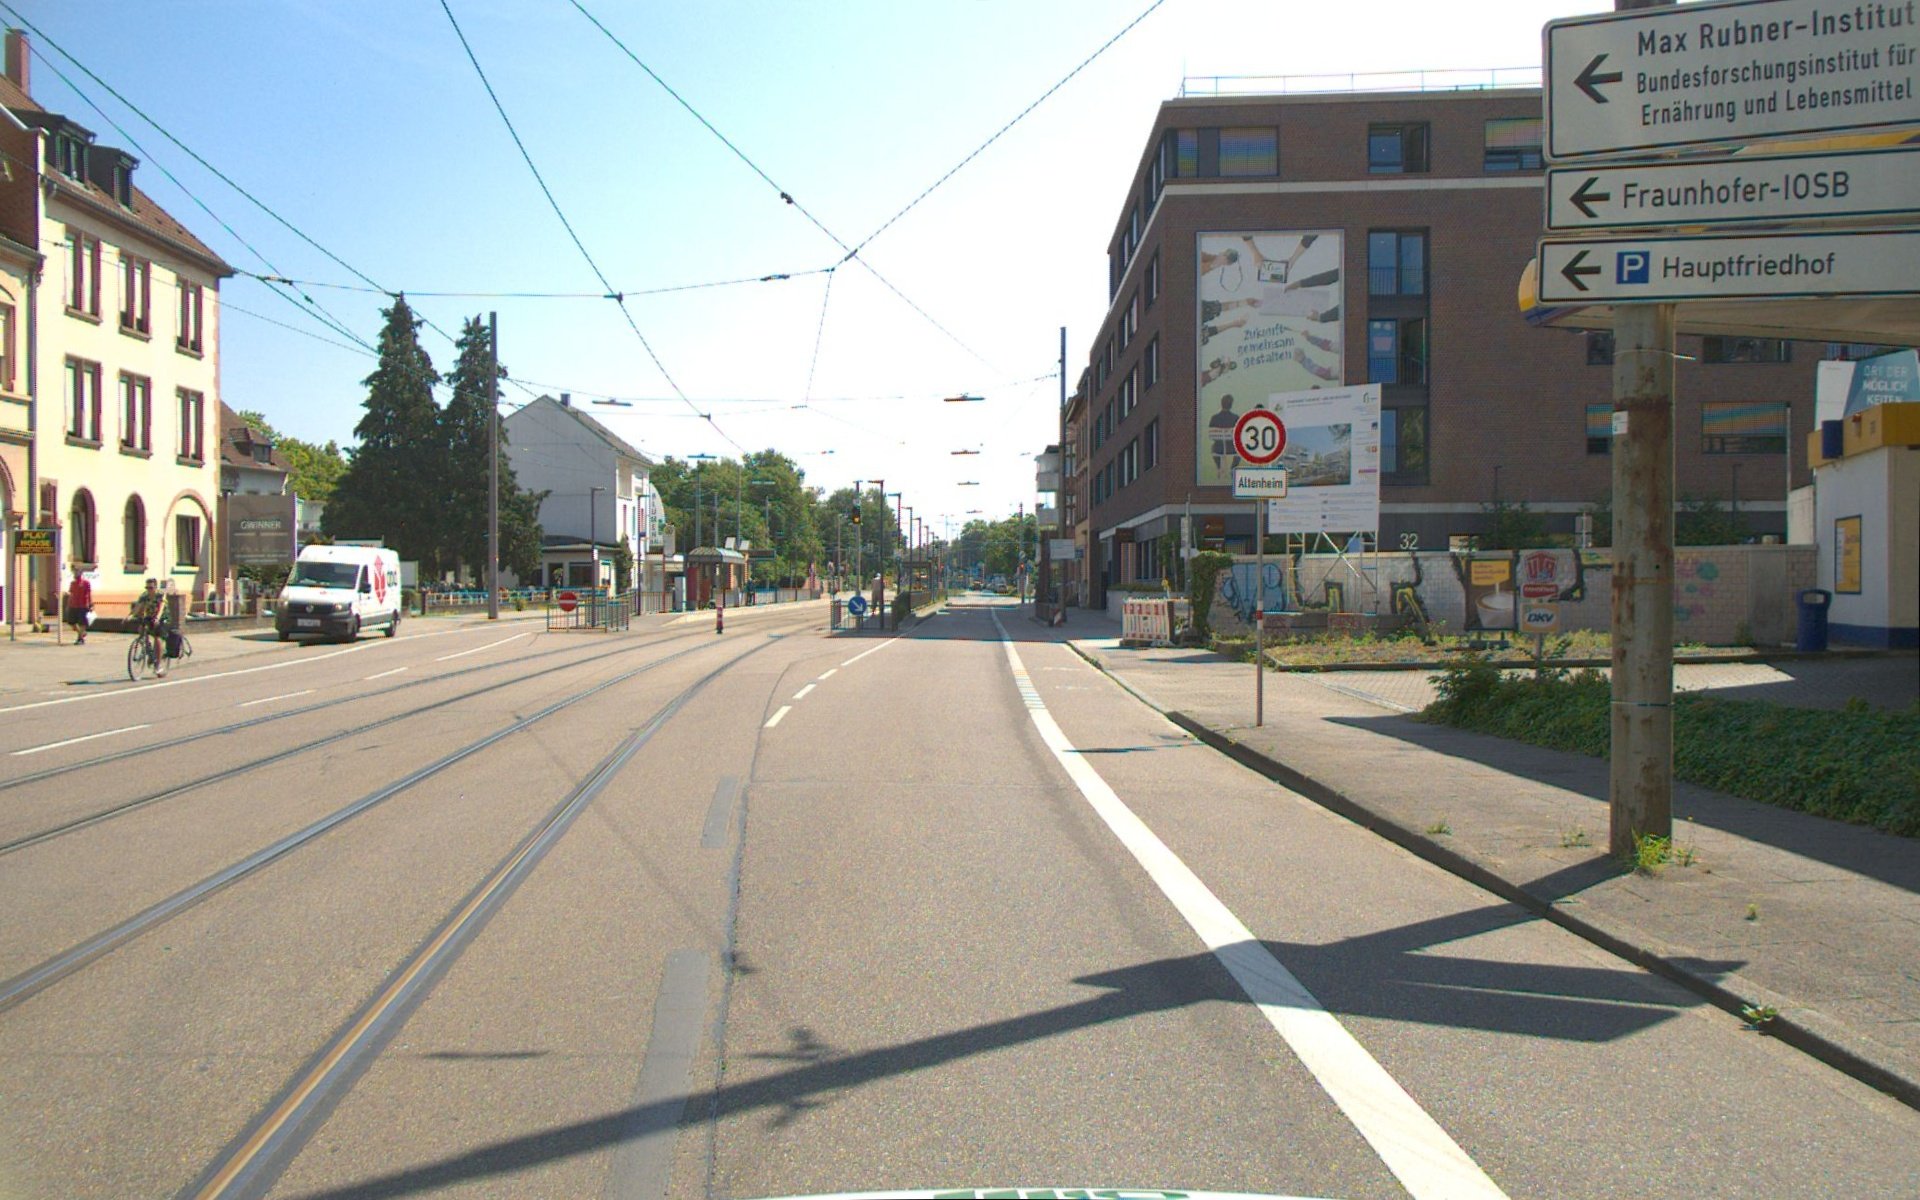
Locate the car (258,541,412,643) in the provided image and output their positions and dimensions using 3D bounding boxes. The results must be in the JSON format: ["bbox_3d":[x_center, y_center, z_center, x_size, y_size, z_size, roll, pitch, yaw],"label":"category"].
[{"bbox_3d":[-17.352,-0.244,46.355,2.284,2.580,6.500,2,1,-5],"label":"car"}]

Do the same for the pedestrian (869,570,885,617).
[{"bbox_3d":[-3.198,-0.264,63.531,0.545,1.790,0.793,-1,1,-5],"label":"pedestrian"}]

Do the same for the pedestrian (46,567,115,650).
[{"bbox_3d":[-19.979,0.177,37.597,0.922,1.847,1.130,0,1,3],"label":"pedestrian"}]

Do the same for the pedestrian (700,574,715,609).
[{"bbox_3d":[-12.263,-0.424,80.298,0.692,1.719,0.416,0,0,-7],"label":"pedestrian"}]

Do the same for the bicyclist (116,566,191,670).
[{"bbox_3d":[-13.891,0.304,28.508,0.701,1.754,0.989,-1,1,6],"label":"bicyclist"}]

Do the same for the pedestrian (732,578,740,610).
[{"bbox_3d":[-12.356,-0.344,91.200,0.408,1.719,0.705,0,0,-13],"label":"pedestrian"}]

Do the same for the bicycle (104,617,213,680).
[{"bbox_3d":[-13.842,0.818,28.636,0.595,1.001,2.166,-2,0,6],"label":"bicycle"}]
